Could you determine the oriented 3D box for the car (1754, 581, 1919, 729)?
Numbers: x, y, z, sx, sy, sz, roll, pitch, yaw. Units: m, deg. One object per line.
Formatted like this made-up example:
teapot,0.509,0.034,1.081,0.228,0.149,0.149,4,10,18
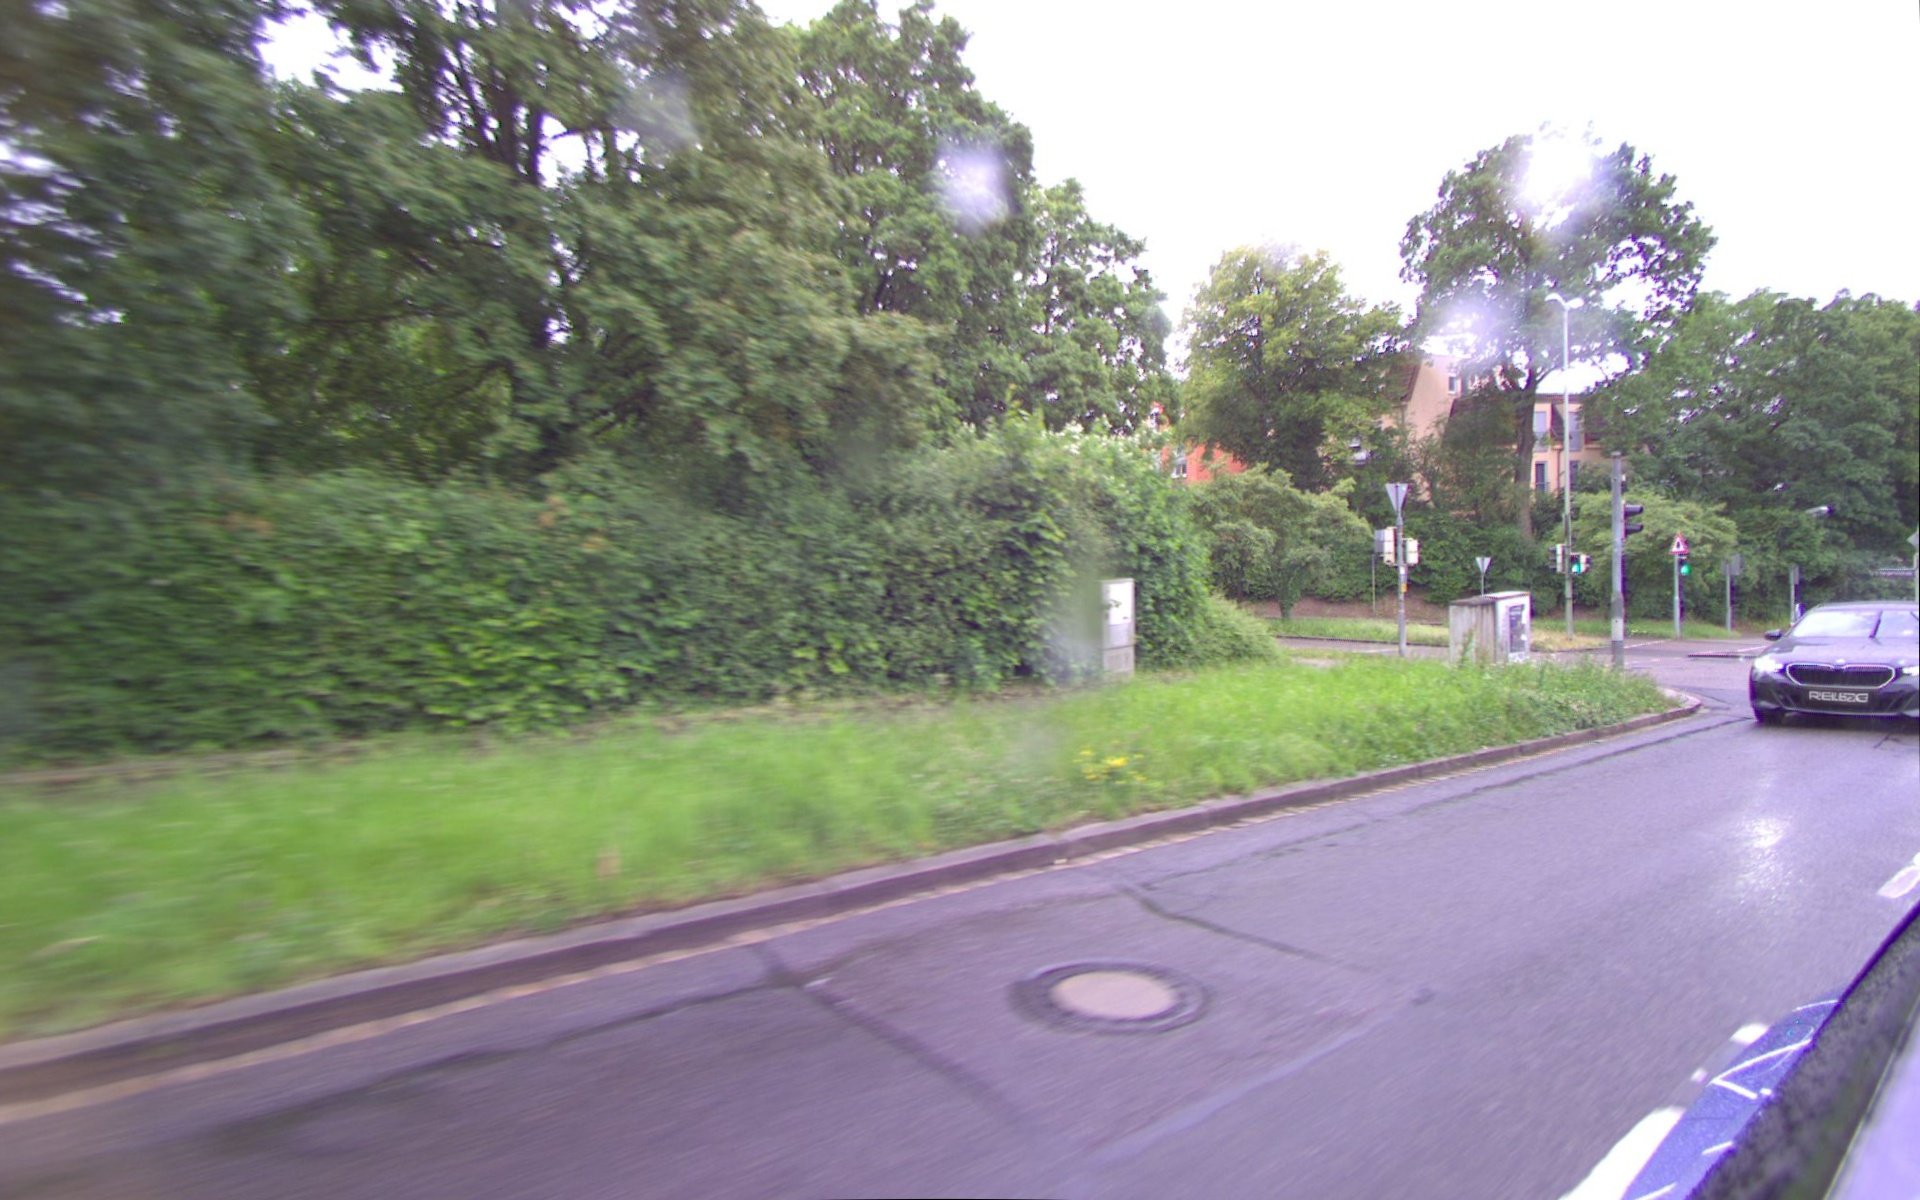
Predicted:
car,11.743,0.576,12.688,4.044,1.575,1.868,-1,2,-38
